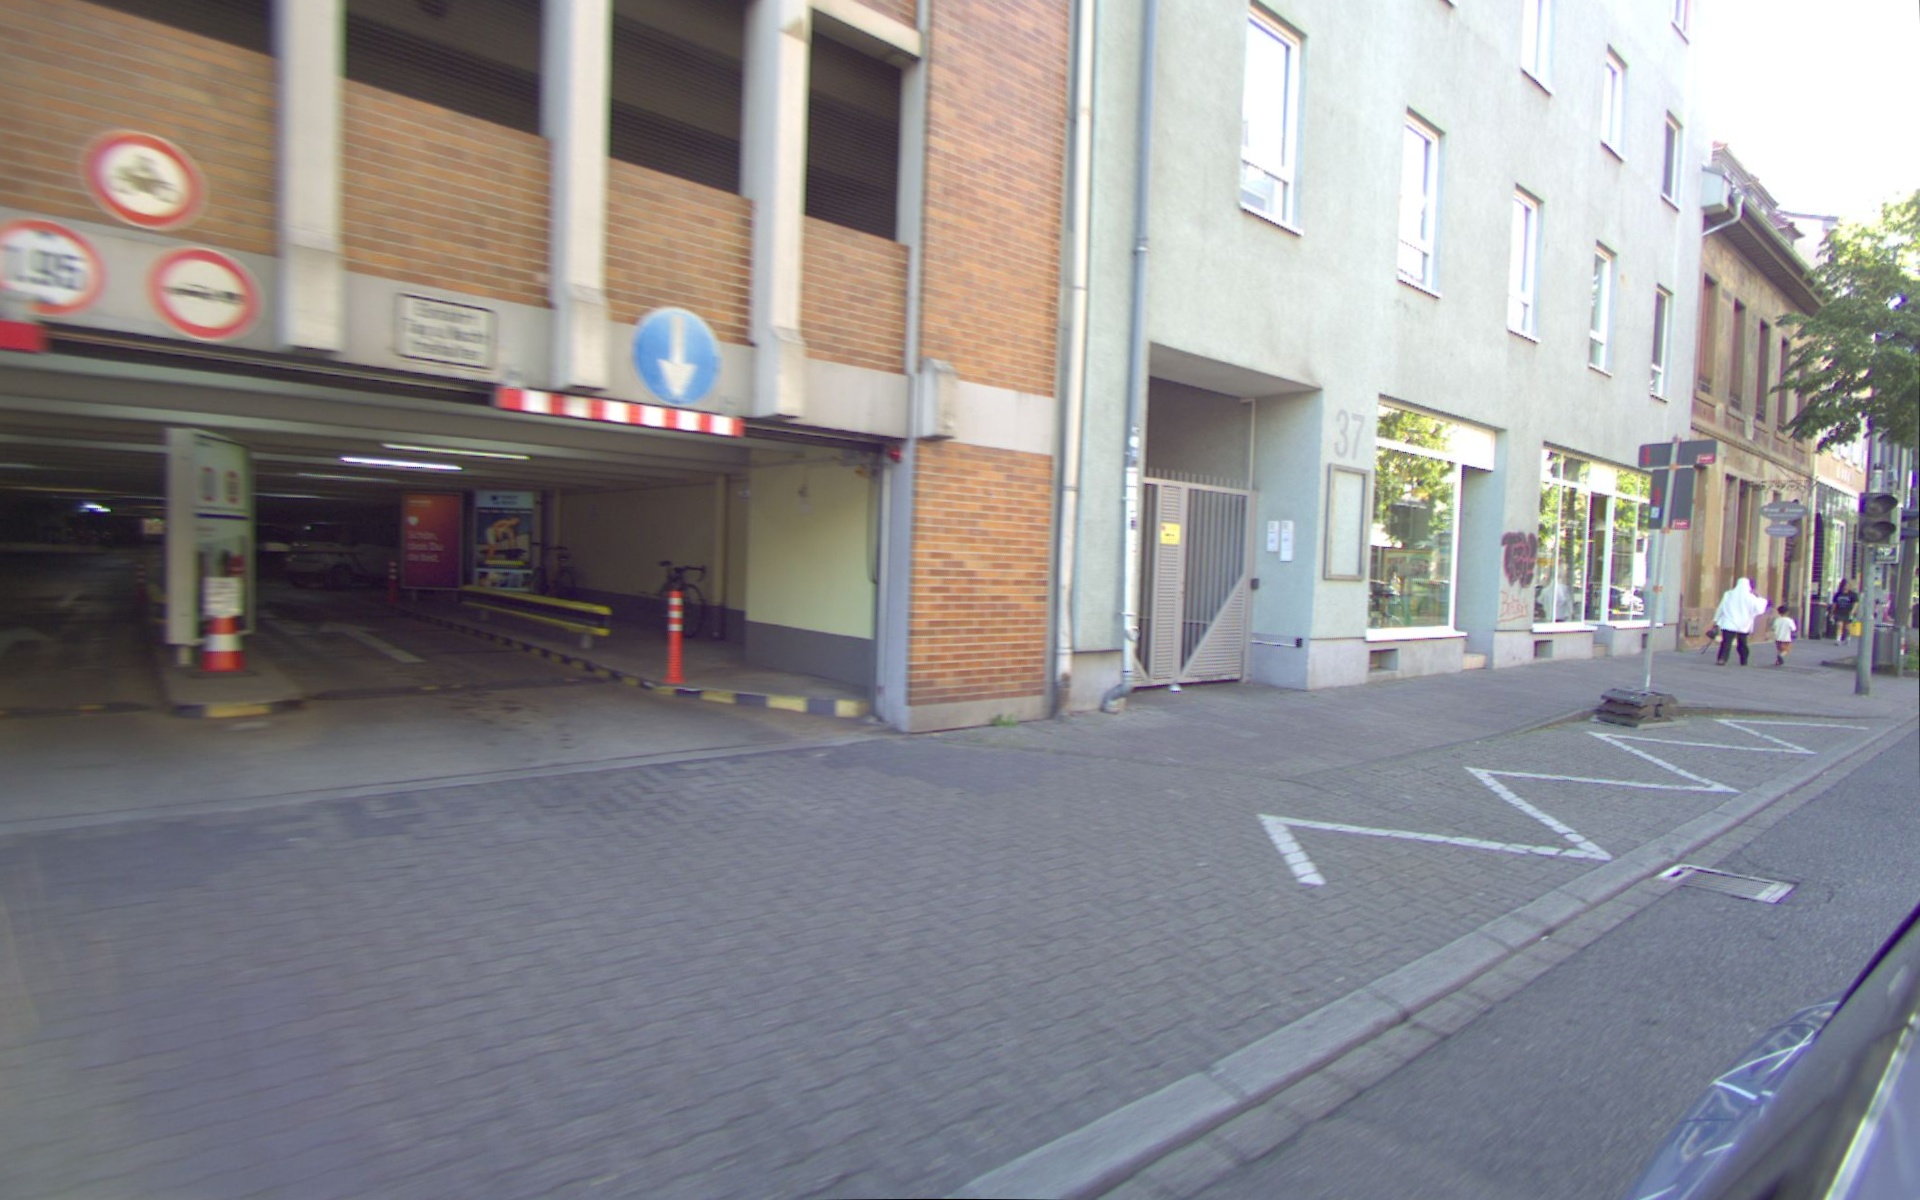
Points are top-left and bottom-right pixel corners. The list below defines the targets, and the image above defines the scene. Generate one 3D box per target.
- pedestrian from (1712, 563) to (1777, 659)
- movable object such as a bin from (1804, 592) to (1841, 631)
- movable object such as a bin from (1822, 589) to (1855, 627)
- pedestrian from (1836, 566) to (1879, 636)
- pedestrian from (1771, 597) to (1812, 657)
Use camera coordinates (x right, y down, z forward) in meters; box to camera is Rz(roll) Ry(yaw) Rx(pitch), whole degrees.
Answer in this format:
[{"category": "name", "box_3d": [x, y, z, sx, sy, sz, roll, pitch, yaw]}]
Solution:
[{"category": "pedestrian", "box_3d": [13.634, 0.170, 17.584, 1.003, 1.577, 0.582, 0, 5, -42]}, {"category": "movable object such as a bin", "box_3d": [24.557, 0.318, 28.814, 0.709, 1.052, 0.590, 0, 5, -39]}, {"category": "movable object such as a bin", "box_3d": [25.699, 0.239, 29.602, 0.709, 1.052, 0.523, 0, 5, -39]}, {"category": "pedestrian", "box_3d": [23.975, 0.016, 27.041, 0.757, 1.786, 0.625, 0, 5, -39]}, {"category": "pedestrian", "box_3d": [15.229, 0.482, 18.537, 0.727, 1.045, 0.394, 0, 5, -42]}]
